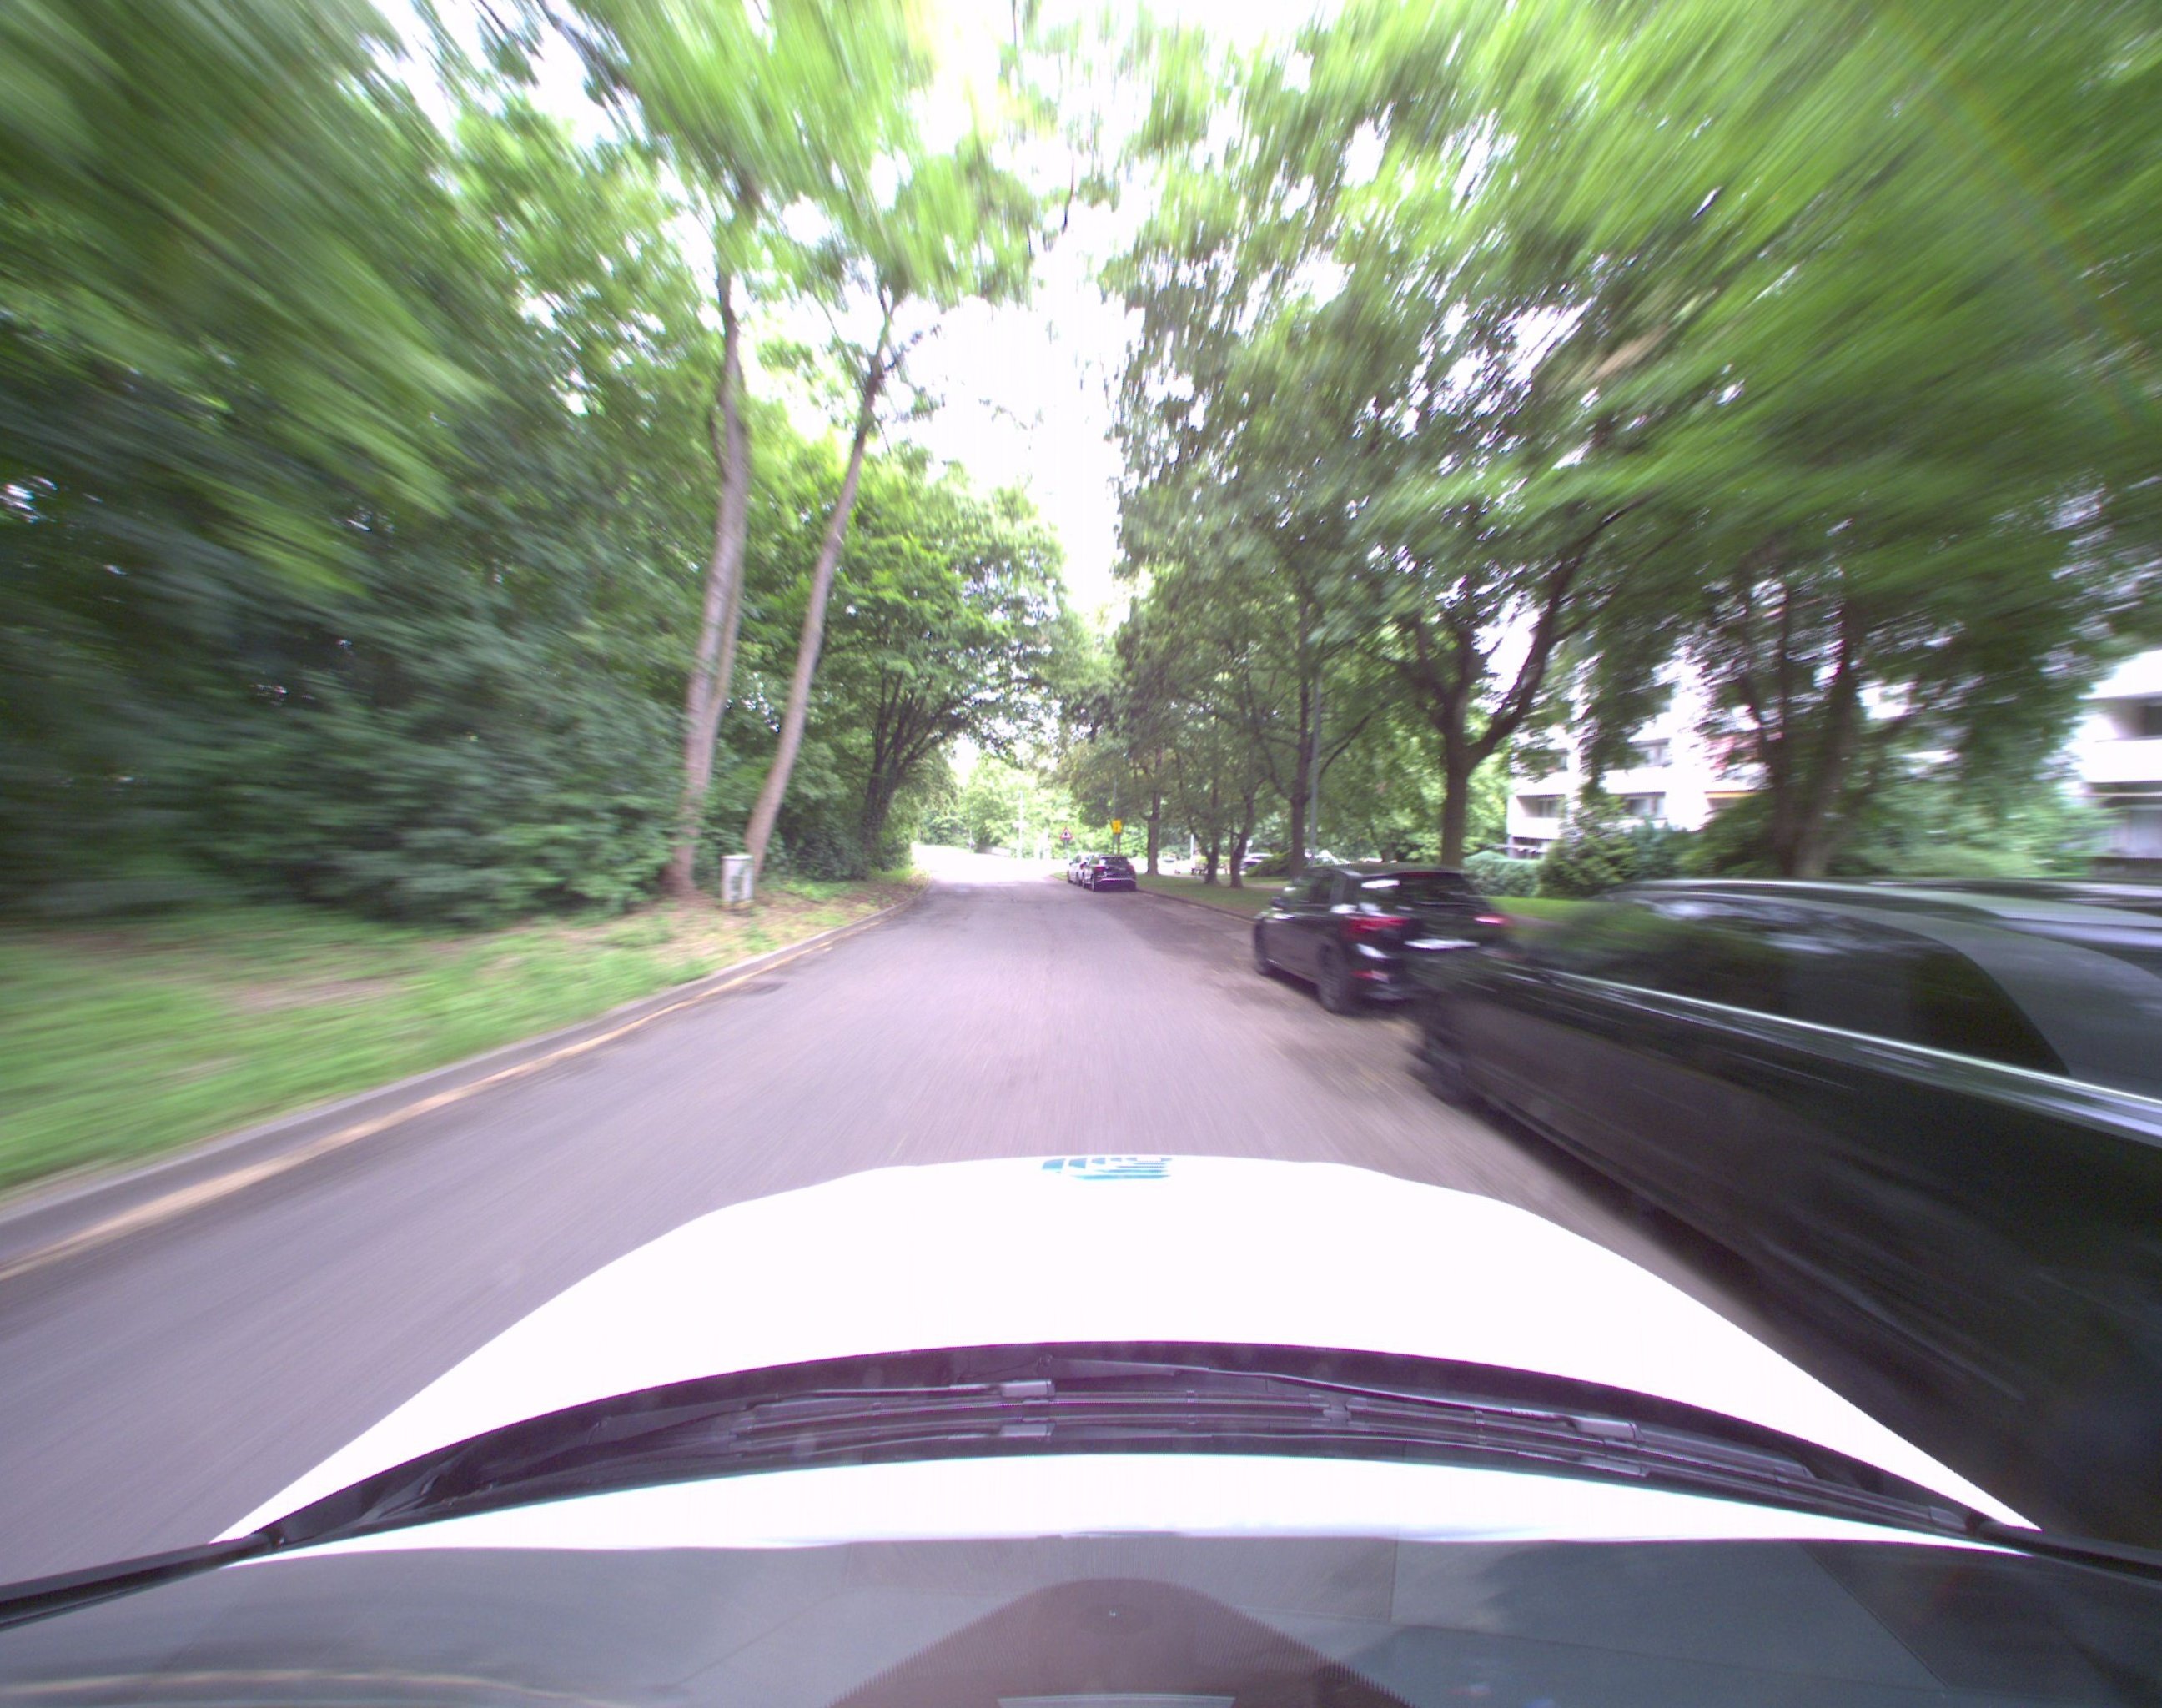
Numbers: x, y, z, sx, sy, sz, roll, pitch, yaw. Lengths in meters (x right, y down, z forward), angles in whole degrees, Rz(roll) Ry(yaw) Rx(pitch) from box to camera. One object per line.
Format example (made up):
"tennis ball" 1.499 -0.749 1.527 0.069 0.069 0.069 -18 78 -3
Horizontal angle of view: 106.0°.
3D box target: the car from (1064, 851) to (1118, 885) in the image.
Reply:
"car" 0.431 0.625 38.809 1.775 1.522 3.765 1 0 -12

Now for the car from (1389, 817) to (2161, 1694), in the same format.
"car" 3.041 0.741 3.389 1.906 1.611 4.737 1 0 3

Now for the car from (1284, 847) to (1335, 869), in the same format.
"car" 21.342 0.360 76.133 4.198 2.013 1.997 1 0 -5

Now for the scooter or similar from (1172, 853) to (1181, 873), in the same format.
"scooter or similar" 6.589 0.614 56.223 0.282 1.286 1.105 1 0 -7

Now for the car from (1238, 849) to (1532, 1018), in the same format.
"car" 3.062 0.697 9.110 1.678 1.464 3.894 1 0 -3

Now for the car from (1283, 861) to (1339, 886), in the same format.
"car" 16.335 1.370 57.901 3.502 1.570 1.834 1 1 3

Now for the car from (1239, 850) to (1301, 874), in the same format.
"car" 14.148 0.586 60.969 4.211 1.685 1.797 1 0 -3

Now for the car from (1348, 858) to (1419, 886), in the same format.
"car" 21.407 1.248 57.759 4.383 1.848 1.832 1 1 -1

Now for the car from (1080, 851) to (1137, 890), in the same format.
"car" 1.105 0.662 34.456 1.772 1.522 4.173 1 0 -7

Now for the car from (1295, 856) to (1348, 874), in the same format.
"car" 21.559 0.954 73.137 4.198 1.498 1.797 1 0 -5
